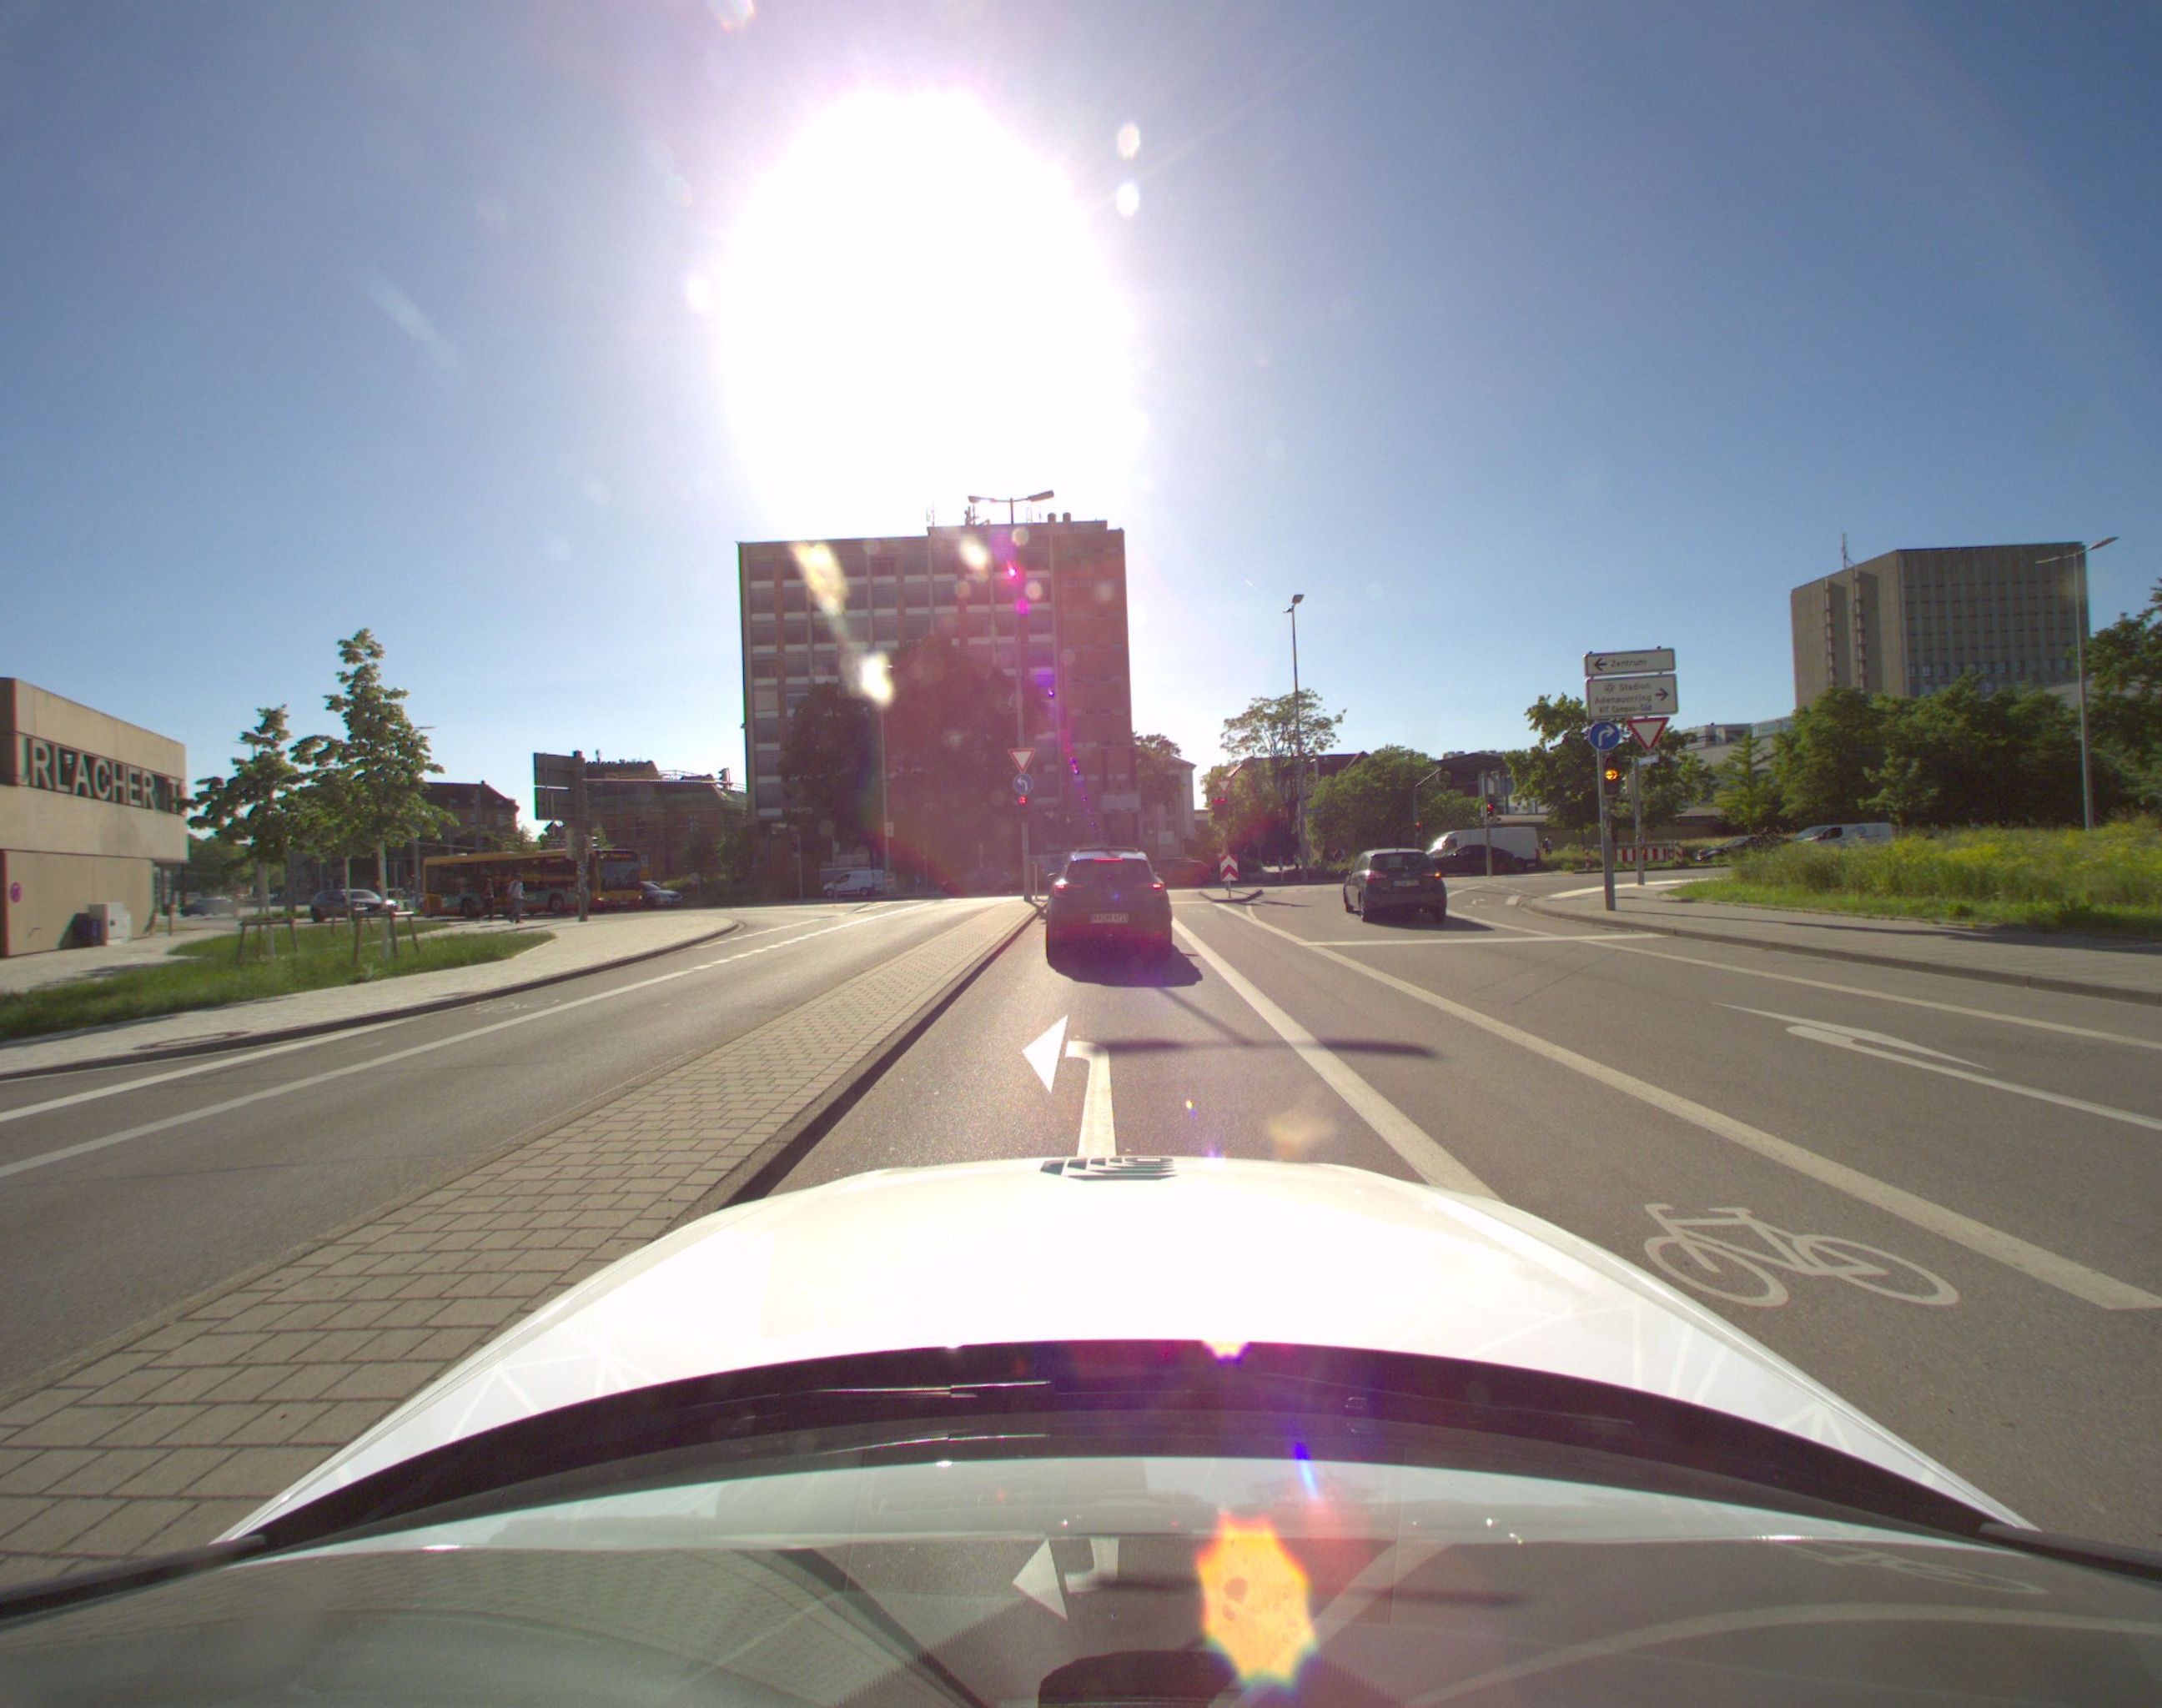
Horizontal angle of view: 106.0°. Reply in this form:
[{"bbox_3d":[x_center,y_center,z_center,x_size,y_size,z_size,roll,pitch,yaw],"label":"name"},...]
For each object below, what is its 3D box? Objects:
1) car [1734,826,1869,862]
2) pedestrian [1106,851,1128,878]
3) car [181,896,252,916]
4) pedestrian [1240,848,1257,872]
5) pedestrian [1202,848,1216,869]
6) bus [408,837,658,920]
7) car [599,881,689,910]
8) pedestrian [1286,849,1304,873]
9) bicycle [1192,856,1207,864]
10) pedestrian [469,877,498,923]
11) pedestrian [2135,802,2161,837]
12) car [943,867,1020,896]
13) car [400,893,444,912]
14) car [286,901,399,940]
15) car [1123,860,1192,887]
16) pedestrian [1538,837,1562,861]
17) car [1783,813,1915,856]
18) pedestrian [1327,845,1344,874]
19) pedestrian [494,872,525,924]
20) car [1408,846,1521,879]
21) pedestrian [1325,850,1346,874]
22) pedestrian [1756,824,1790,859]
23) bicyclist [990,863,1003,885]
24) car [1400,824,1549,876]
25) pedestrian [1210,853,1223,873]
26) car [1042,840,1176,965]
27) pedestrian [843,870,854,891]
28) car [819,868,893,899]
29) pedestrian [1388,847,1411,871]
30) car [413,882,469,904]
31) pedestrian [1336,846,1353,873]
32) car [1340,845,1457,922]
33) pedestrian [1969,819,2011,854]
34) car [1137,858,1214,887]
[{"bbox_3d":[36.440,-0.475,41.280,4.820,1.582,2.104,-2,0,4],"label":"car"},{"bbox_3d":[2.532,0.735,57.404,1.288,1.855,0.969,-2,0,12],"label":"pedestrian"},{"bbox_3d":[-79.807,4.792,75.274,4.009,1.582,1.982,0,-1,-28],"label":"car"},{"bbox_3d":[14.312,0.499,69.688,1.152,2.013,1.165,-2,0,1],"label":"pedestrian"},{"bbox_3d":[10.911,0.422,69.328,0.949,1.741,0.984,-2,0,1],"label":"pedestrian"},{"bbox_3d":[-27.070,1.244,40.096,12.321,3.570,3.266,-2,0,19],"label":"bus"},{"bbox_3d":[-22.311,2.103,41.598,3.813,1.403,1.901,-2,-3,18],"label":"car"},{"bbox_3d":[14.159,0.441,53.921,1.078,1.521,0.933,-2,0,11],"label":"pedestrian"},{"bbox_3d":[15.325,0.747,105.170,1.764,0.898,0.766,-2,0,1],"label":"bicycle"},{"bbox_3d":[-22.606,1.729,30.816,0.627,1.697,0.608,-2,0,24],"label":"pedestrian"},{"bbox_3d":[64.680,-2.094,49.181,0.892,2.079,0.814,-2,0,4],"label":"pedestrian"},{"bbox_3d":[-5.761,1.577,47.426,3.876,1.448,2.108,-2,0,10],"label":"car"},{"bbox_3d":[-60.998,4.457,75.354,3.948,1.582,2.013,-1,-1,33],"label":"car"},{"bbox_3d":[-40.286,3.623,44.460,4.697,1.861,2.010,-2,0,10],"label":"car"},{"bbox_3d":[4.564,1.158,48.961,4.028,1.439,2.067,-2,0,3],"label":"car"},{"bbox_3d":[29.679,-0.315,51.574,0.966,1.521,0.886,-2,0,5],"label":"pedestrian"},{"bbox_3d":[41.266,-1.021,43.876,4.977,2.013,2.074,-2,0,3],"label":"car"},{"bbox_3d":[16.841,0.353,53.962,0.926,1.855,0.809,-2,0,10],"label":"pedestrian"},{"bbox_3d":[-20.699,1.593,29.522,0.673,1.855,0.608,-2,0,24],"label":"pedestrian"},{"bbox_3d":[19.958,0.475,42.577,5.001,1.673,2.005,0,-2,8],"label":"car"},{"bbox_3d":[16.296,0.516,52.100,1.069,1.521,0.880,-2,0,6],"label":"pedestrian"},{"bbox_3d":[42.085,-0.757,49.560,1.181,2.079,0.983,-2,0,4],"label":"pedestrian"},{"bbox_3d":[-5.667,1.350,54.684,0.642,1.412,0.641,-4,-3,18],"label":"bicyclist"},{"bbox_3d":[22.071,-0.224,46.042,6.897,2.547,3.019,-2,0,7],"label":"car"},{"bbox_3d":[11.489,0.759,69.102,0.932,1.613,1.176,-2,0,1],"label":"pedestrian"},{"bbox_3d":[0.396,0.645,12.861,1.788,1.655,3.853,-1,0,0],"label":"car"},{"bbox_3d":[-17.970,2.077,63.005,0.528,1.571,0.559,-2,0,26],"label":"pedestrian"},{"bbox_3d":[-14.934,1.937,54.181,4.137,1.881,2.225,-2,0,18],"label":"car"},{"bbox_3d":[20.954,0.319,53.553,1.140,1.521,0.943,-2,0,7],"label":"pedestrian"},{"bbox_3d":[-50.243,3.041,63.897,3.771,1.518,2.012,-2,0,27],"label":"car"},{"bbox_3d":[17.661,0.372,54.551,0.955,1.732,0.930,-2,0,20],"label":"pedestrian"},{"bbox_3d":[6.958,0.595,18.220,1.725,1.516,4.012,-1,0,11],"label":"car"},{"bbox_3d":[55.218,-1.053,49.485,1.225,2.079,1.084,-2,0,4],"label":"pedestrian"},{"bbox_3d":[5.264,1.017,45.050,4.020,1.439,2.071,-2,0,9],"label":"car"}]
